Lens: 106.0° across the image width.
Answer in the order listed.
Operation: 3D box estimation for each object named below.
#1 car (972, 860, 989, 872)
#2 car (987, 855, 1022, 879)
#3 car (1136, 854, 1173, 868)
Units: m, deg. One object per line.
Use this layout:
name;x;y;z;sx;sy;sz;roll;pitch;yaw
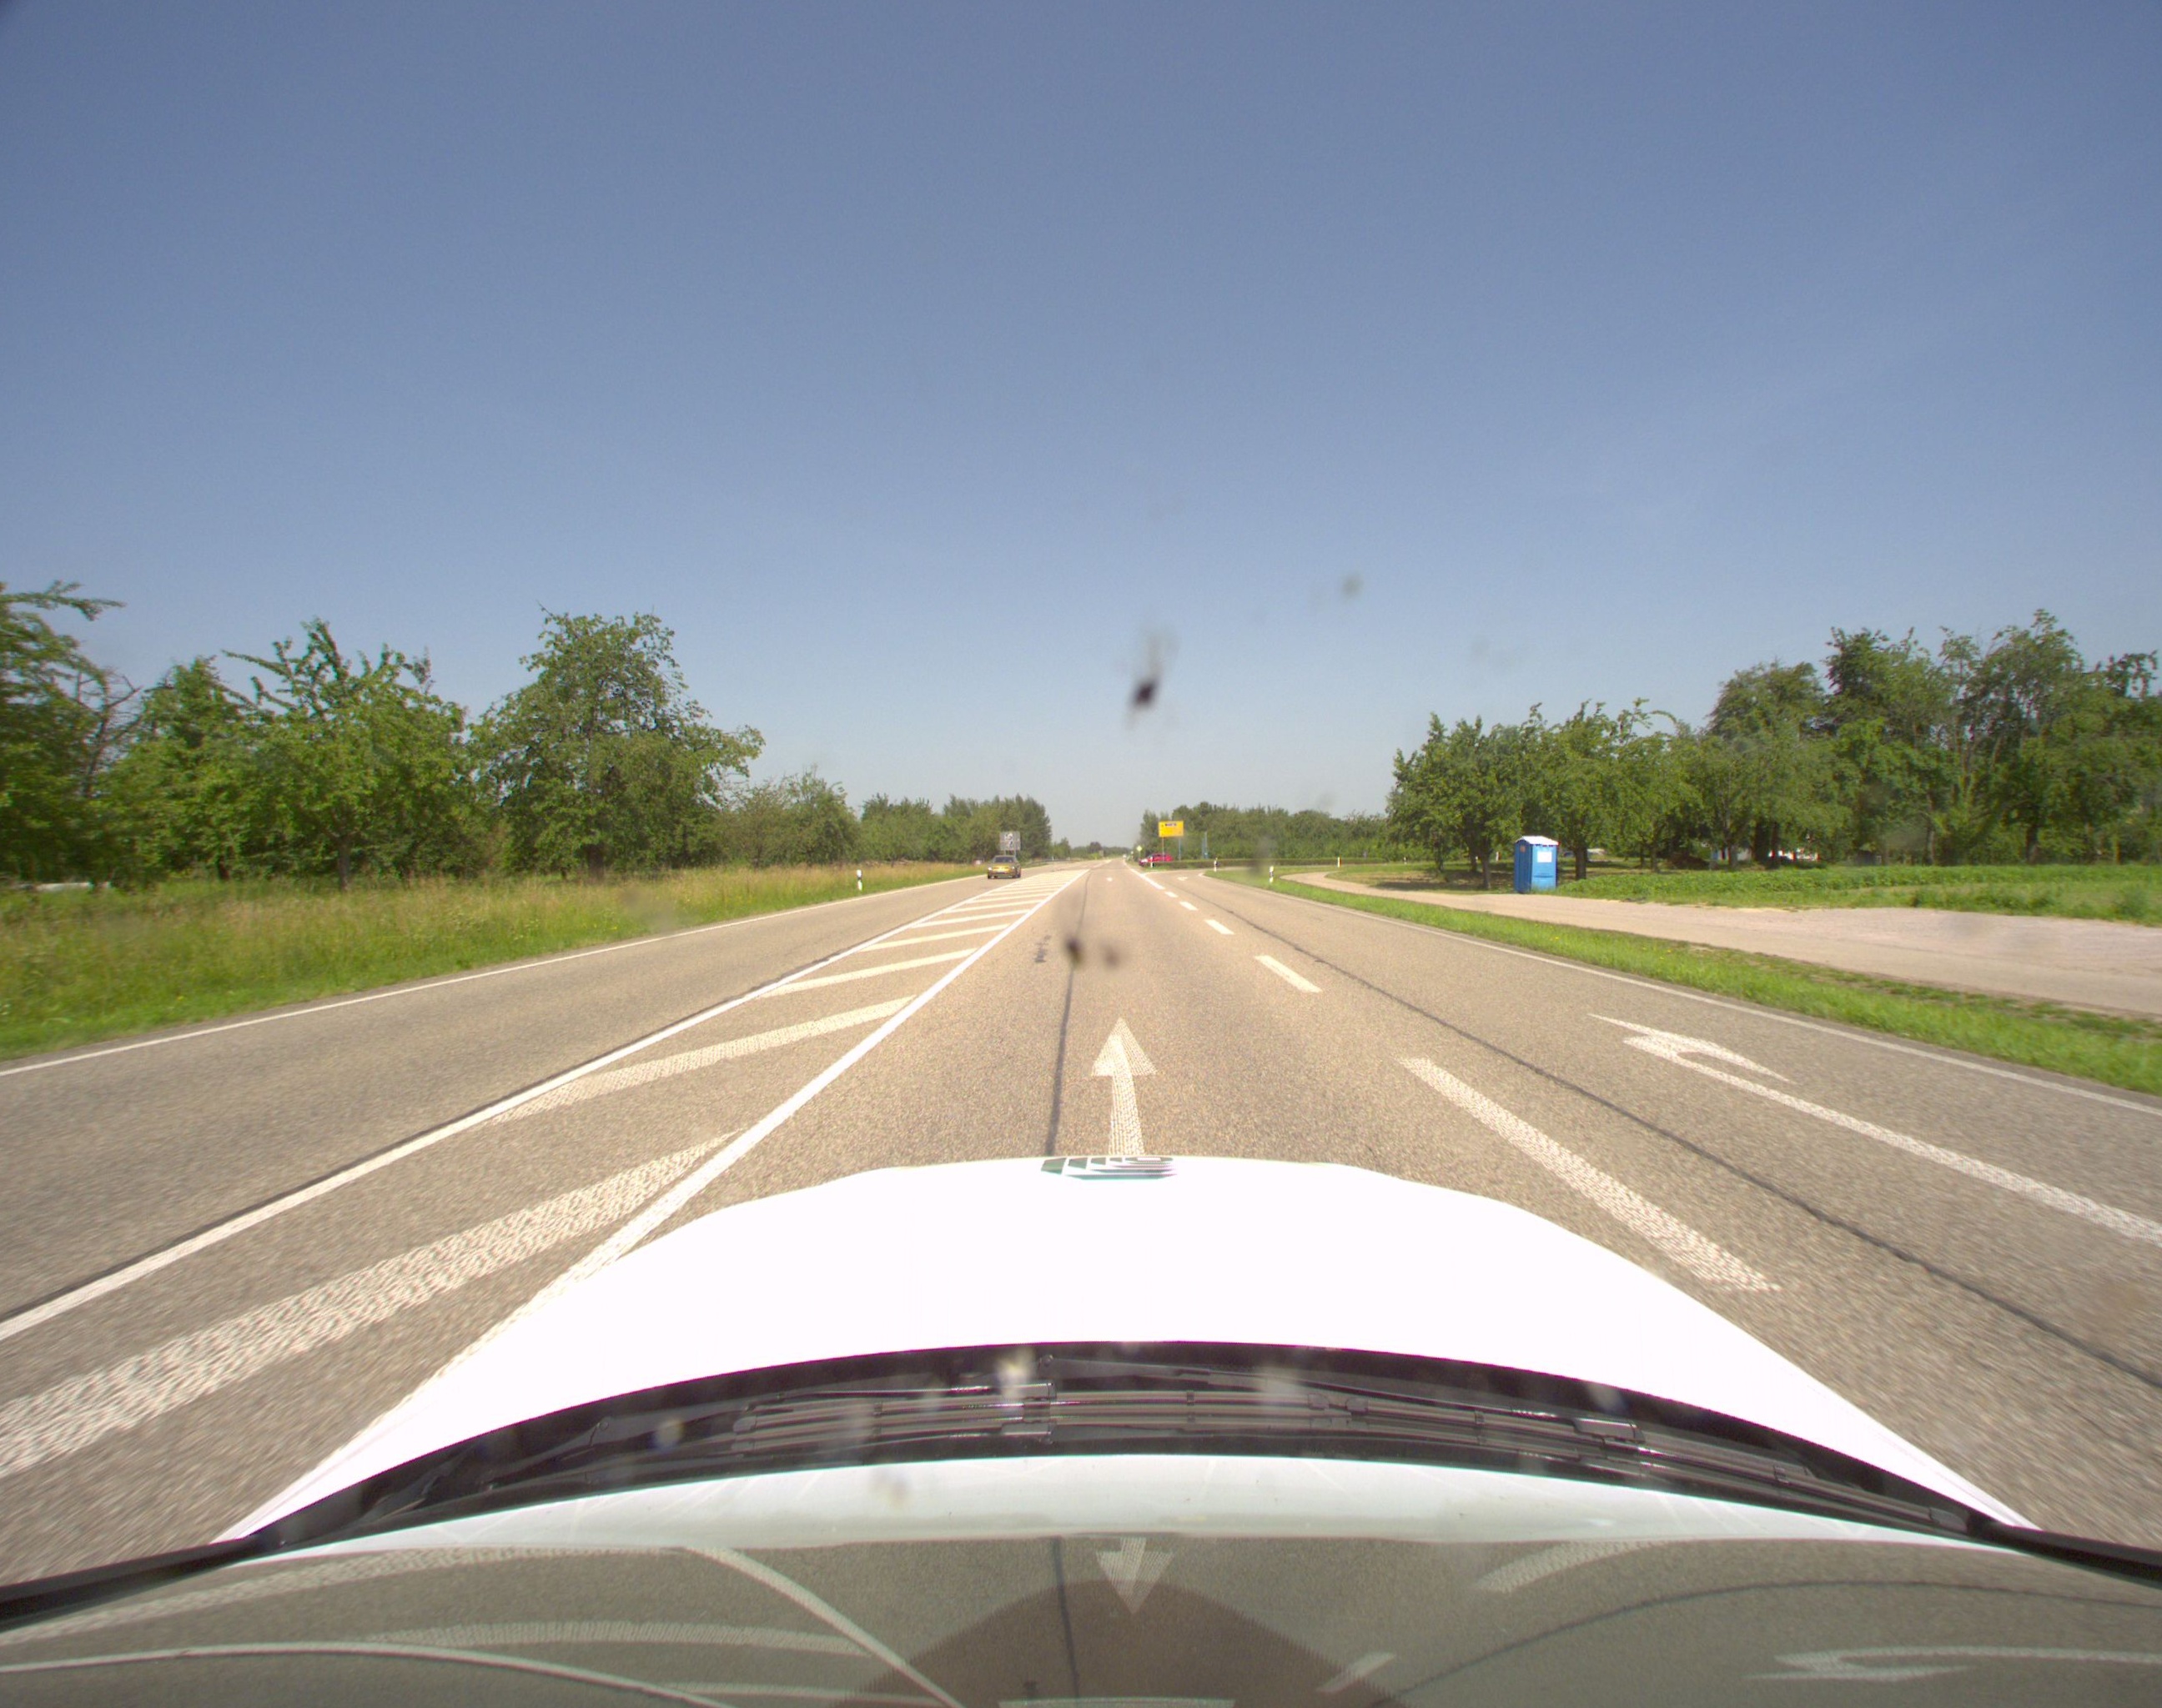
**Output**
car;-12.255;1.410;99.847;1.700;1.423;4.040;-1;0;-2
car;-4.712;0.778;50.882;1.691;1.416;3.826;-1;0;2
car;8.087;0.759;89.676;3.747;1.493;1.663;0;0;-16
